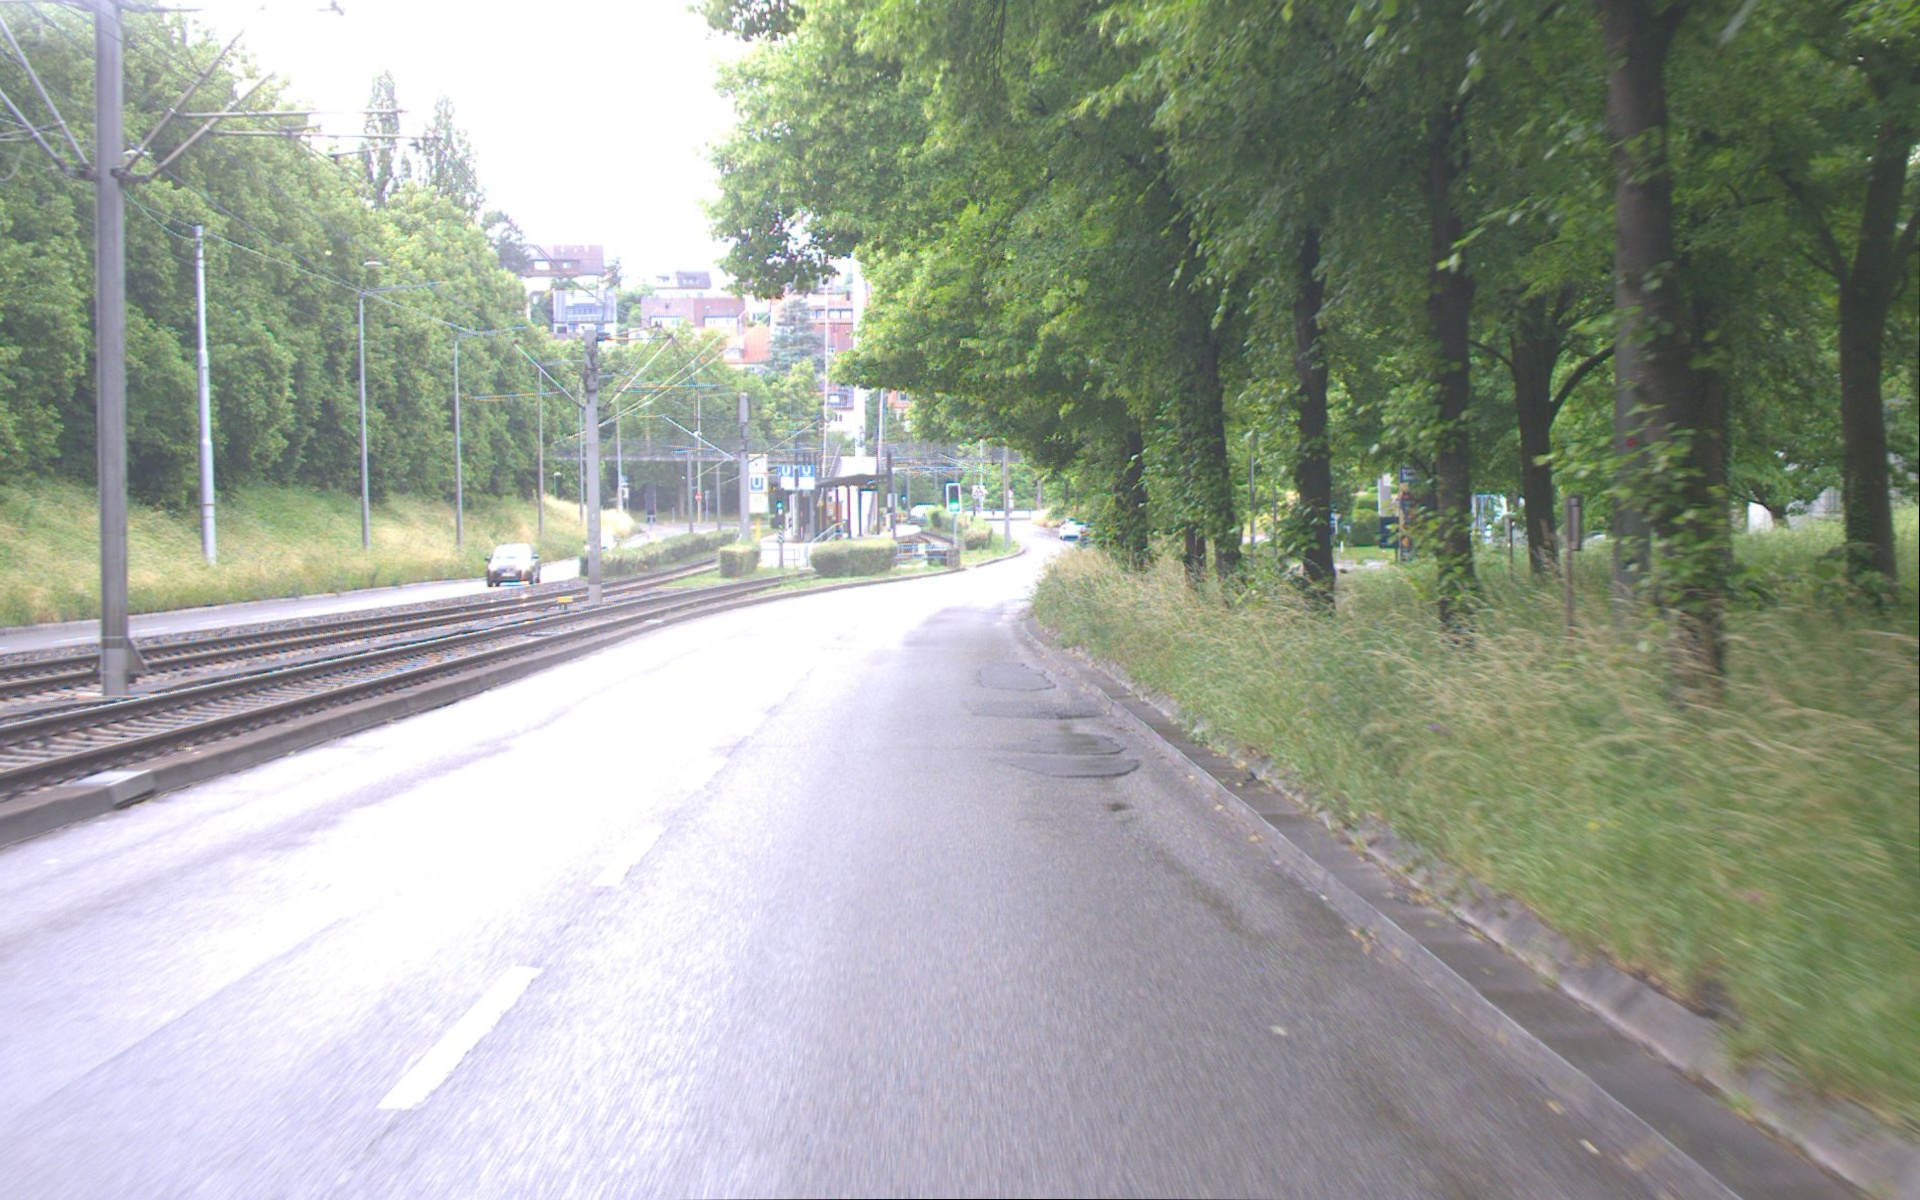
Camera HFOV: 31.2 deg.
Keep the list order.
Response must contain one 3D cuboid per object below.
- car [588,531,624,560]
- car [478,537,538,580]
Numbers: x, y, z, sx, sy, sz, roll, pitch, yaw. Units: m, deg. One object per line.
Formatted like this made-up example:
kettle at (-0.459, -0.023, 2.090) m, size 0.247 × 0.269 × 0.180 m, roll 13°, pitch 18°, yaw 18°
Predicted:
car at (-20.084, -3.104, 195.070) m, size 1.784 × 1.546 × 3.962 m, roll -2°, pitch 1°, yaw -3°
car at (-16.206, -1.509, 123.460) m, size 1.669 × 1.438 × 4.027 m, roll -3°, pitch 1°, yaw -1°
